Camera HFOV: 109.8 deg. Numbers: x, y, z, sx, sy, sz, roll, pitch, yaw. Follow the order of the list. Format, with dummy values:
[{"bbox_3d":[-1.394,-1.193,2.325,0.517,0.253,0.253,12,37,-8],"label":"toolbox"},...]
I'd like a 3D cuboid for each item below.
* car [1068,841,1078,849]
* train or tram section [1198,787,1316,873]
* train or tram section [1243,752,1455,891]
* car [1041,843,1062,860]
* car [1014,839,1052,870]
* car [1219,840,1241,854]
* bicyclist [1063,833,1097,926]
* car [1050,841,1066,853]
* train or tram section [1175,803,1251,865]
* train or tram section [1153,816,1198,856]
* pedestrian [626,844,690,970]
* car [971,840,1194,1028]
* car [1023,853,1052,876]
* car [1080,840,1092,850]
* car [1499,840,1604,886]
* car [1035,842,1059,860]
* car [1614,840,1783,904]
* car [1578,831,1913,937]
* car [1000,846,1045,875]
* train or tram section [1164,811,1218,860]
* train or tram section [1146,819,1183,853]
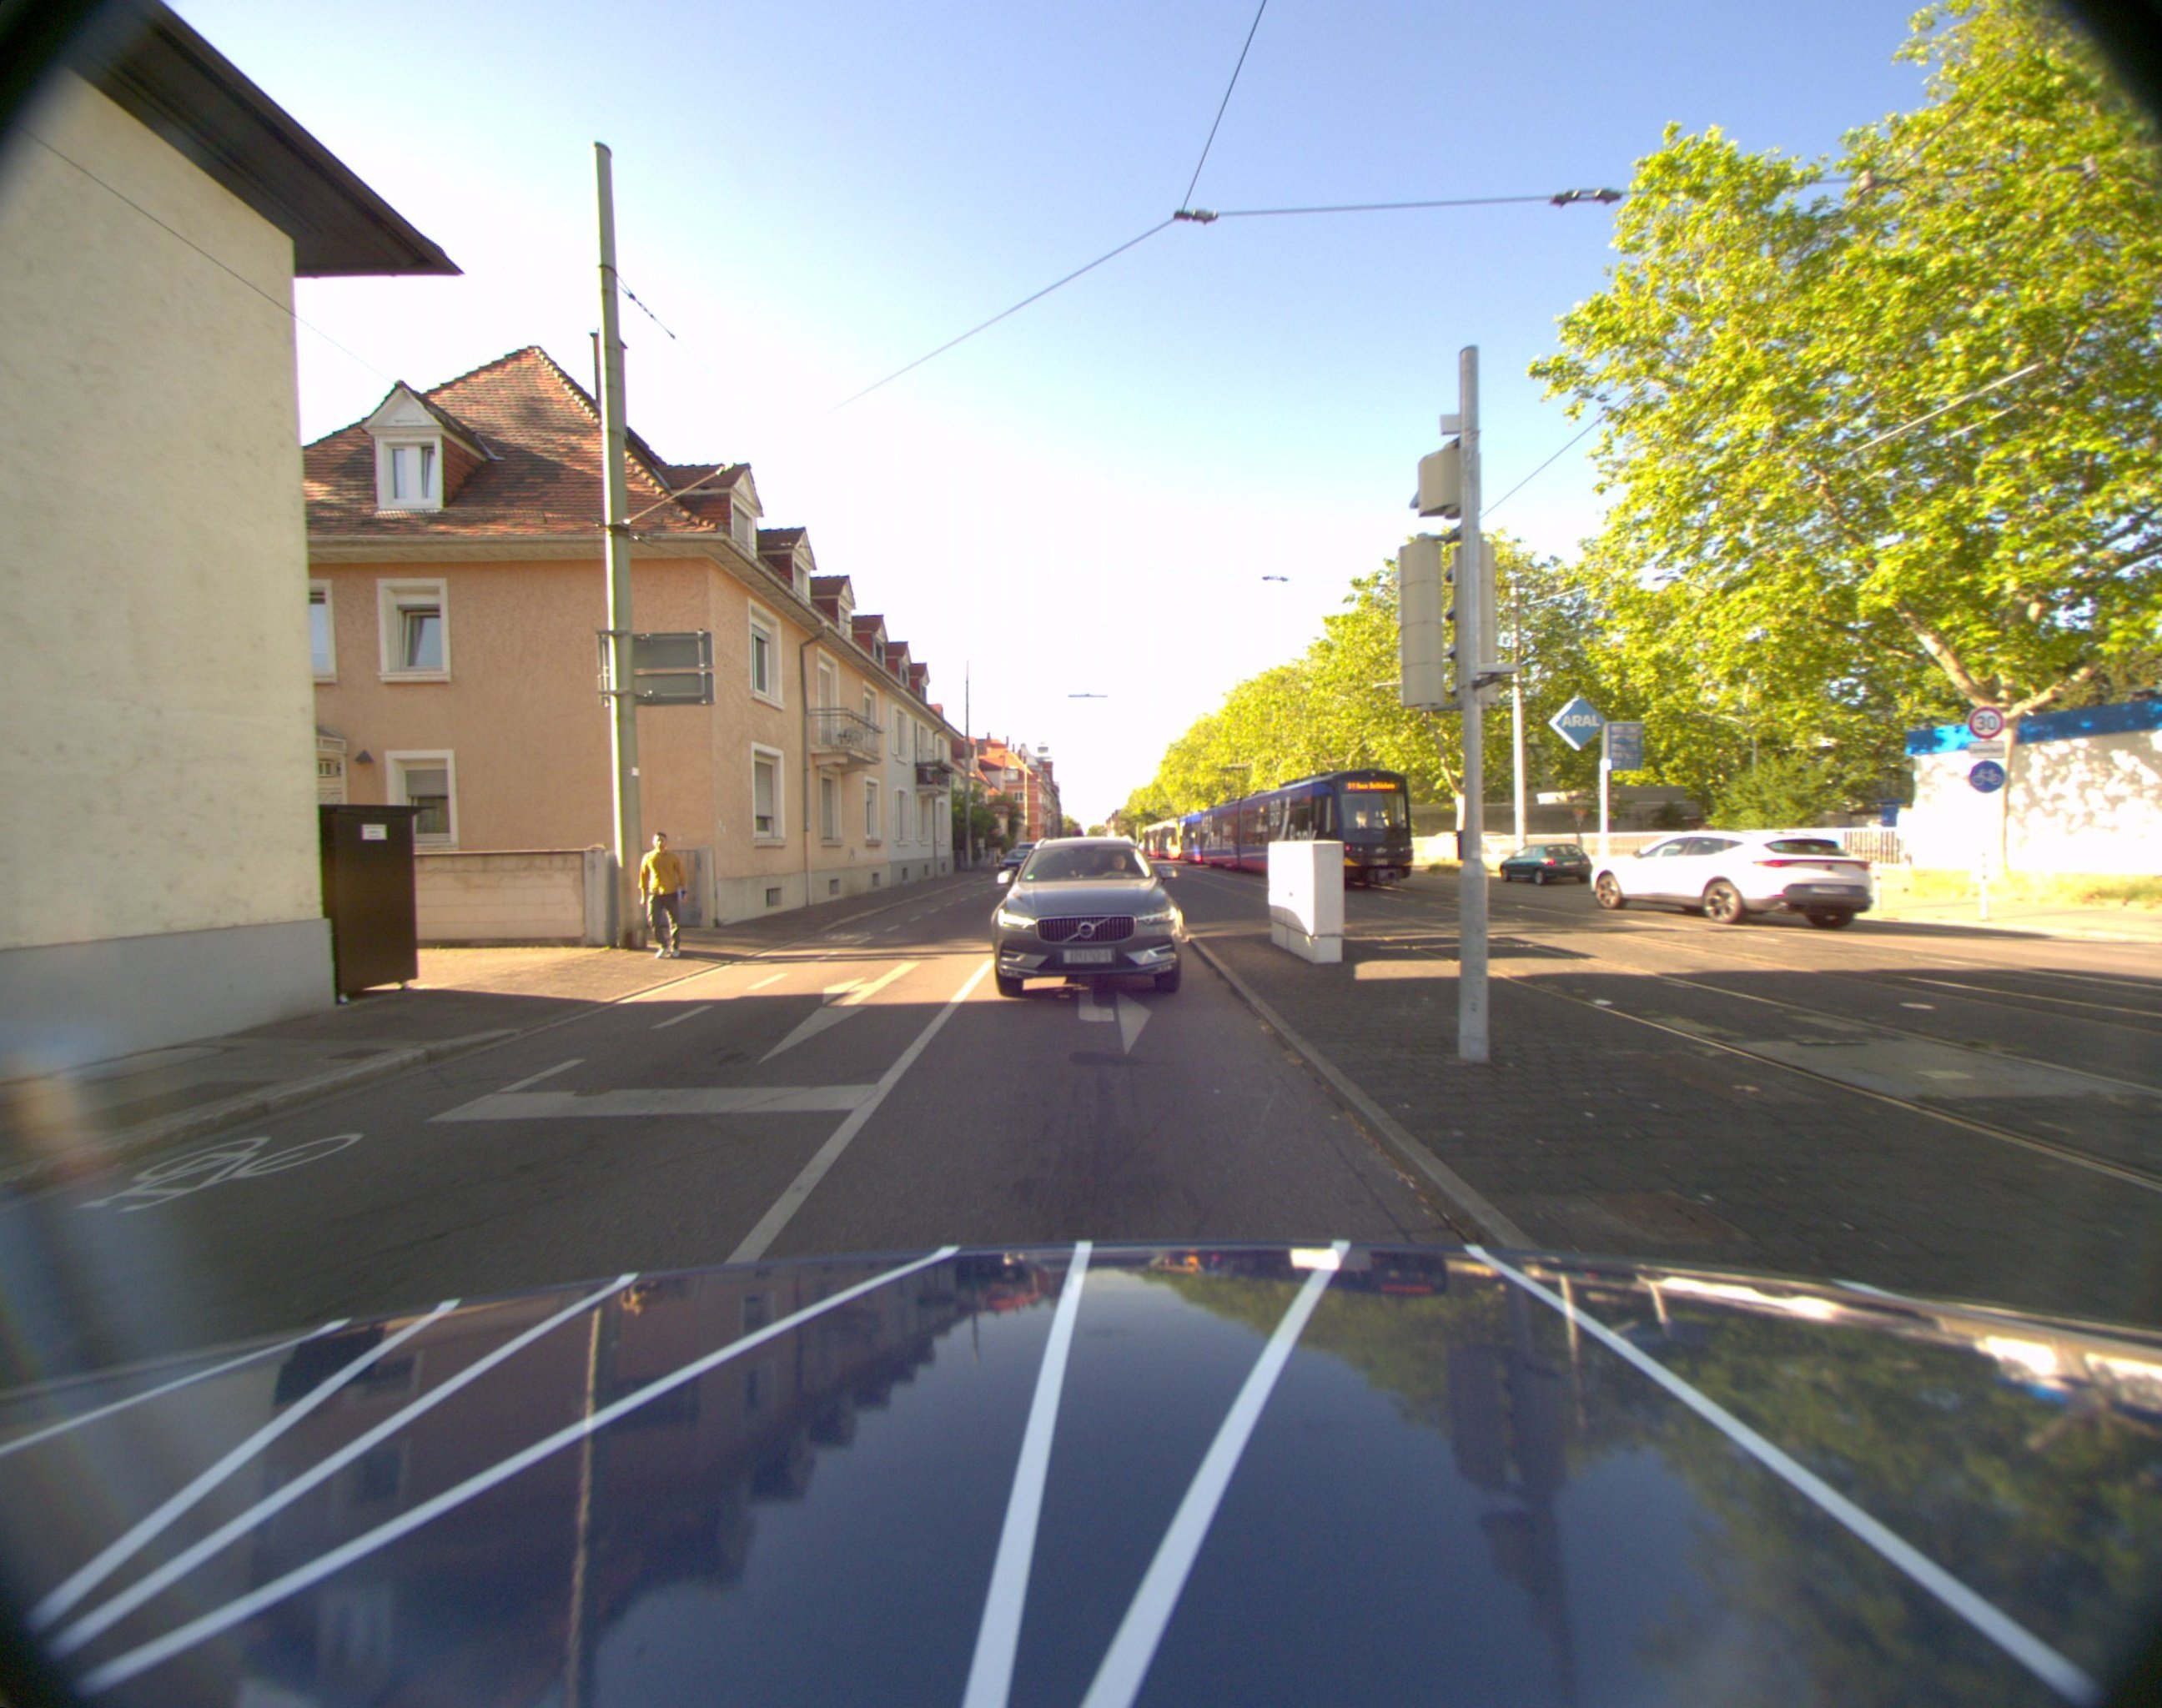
[{"bbox_3d":[-1.562,-1.794,152.510,1.882,1.477,3.999,-1,1,-1],"label":"car"},{"bbox_3d":[8.403,-1.127,38.329,3.063,3.592,12.499,-1,1,0],"label":"train or tram section"},{"bbox_3d":[8.334,-0.965,26.025,3.063,3.592,12.112,-1,1,0],"label":"train or tram section"},{"bbox_3d":[-2.792,-0.250,72.829,1.882,1.477,3.999,-1,1,-1],"label":"car"},{"bbox_3d":[-2.993,-0.029,48.589,1.933,1.835,5.312,-1,1,1],"label":"car"},{"bbox_3d":[17.469,-0.841,89.118,1.882,1.543,4.000,-1,1,2],"label":"car"},{"bbox_3d":[-0.016,0.463,14.259,0.600,1.709,0.662,-1,2,0],"label":"bicyclist"},{"bbox_3d":[-2.708,-0.847,90.394,1.882,1.477,3.999,-1,1,-1],"label":"car"},{"bbox_3d":[8.499,-1.277,50.643,3.063,3.592,12.112,-1,1,1],"label":"train or tram section"},{"bbox_3d":[9.136,-1.733,74.744,3.062,3.592,11.948,-1,1,1],"label":"train or tram section"},{"bbox_3d":[-6.045,0.738,10.878,0.602,1.751,0.486,-1,1,-5],"label":"pedestrian"},{"bbox_3d":[0.041,0.658,8.858,1.917,1.622,4.502,-1,1,1],"label":"car"},{"bbox_3d":[-3.025,0.687,53.757,1.882,1.477,3.999,-1,1,-1],"label":"car"},{"bbox_3d":[0.791,-1.427,121.947,1.882,1.477,3.999,-1,1,-1],"label":"car"},{"bbox_3d":[16.506,0.279,26.841,1.779,1.416,3.311,-4,1,5],"label":"car"},{"bbox_3d":[-2.925,-0.275,66.215,1.882,1.477,3.999,-1,1,-1],"label":"car"},{"bbox_3d":[16.212,0.409,20.198,1.779,1.416,3.539,-4,1,5],"label":"car"},{"bbox_3d":[10.990,0.389,13.132,1.998,1.488,4.346,1,1,1],"label":"car"},{"bbox_3d":[-3.212,0.313,42.665,1.881,1.477,4.001,-1,1,5],"label":"car"},{"bbox_3d":[8.852,-1.511,62.737,3.062,3.592,12.113,-1,1,2],"label":"train or tram section"},{"bbox_3d":[9.391,-2.070,87.135,3.062,3.592,12.887,-1,1,1],"label":"train or tram section"}]
